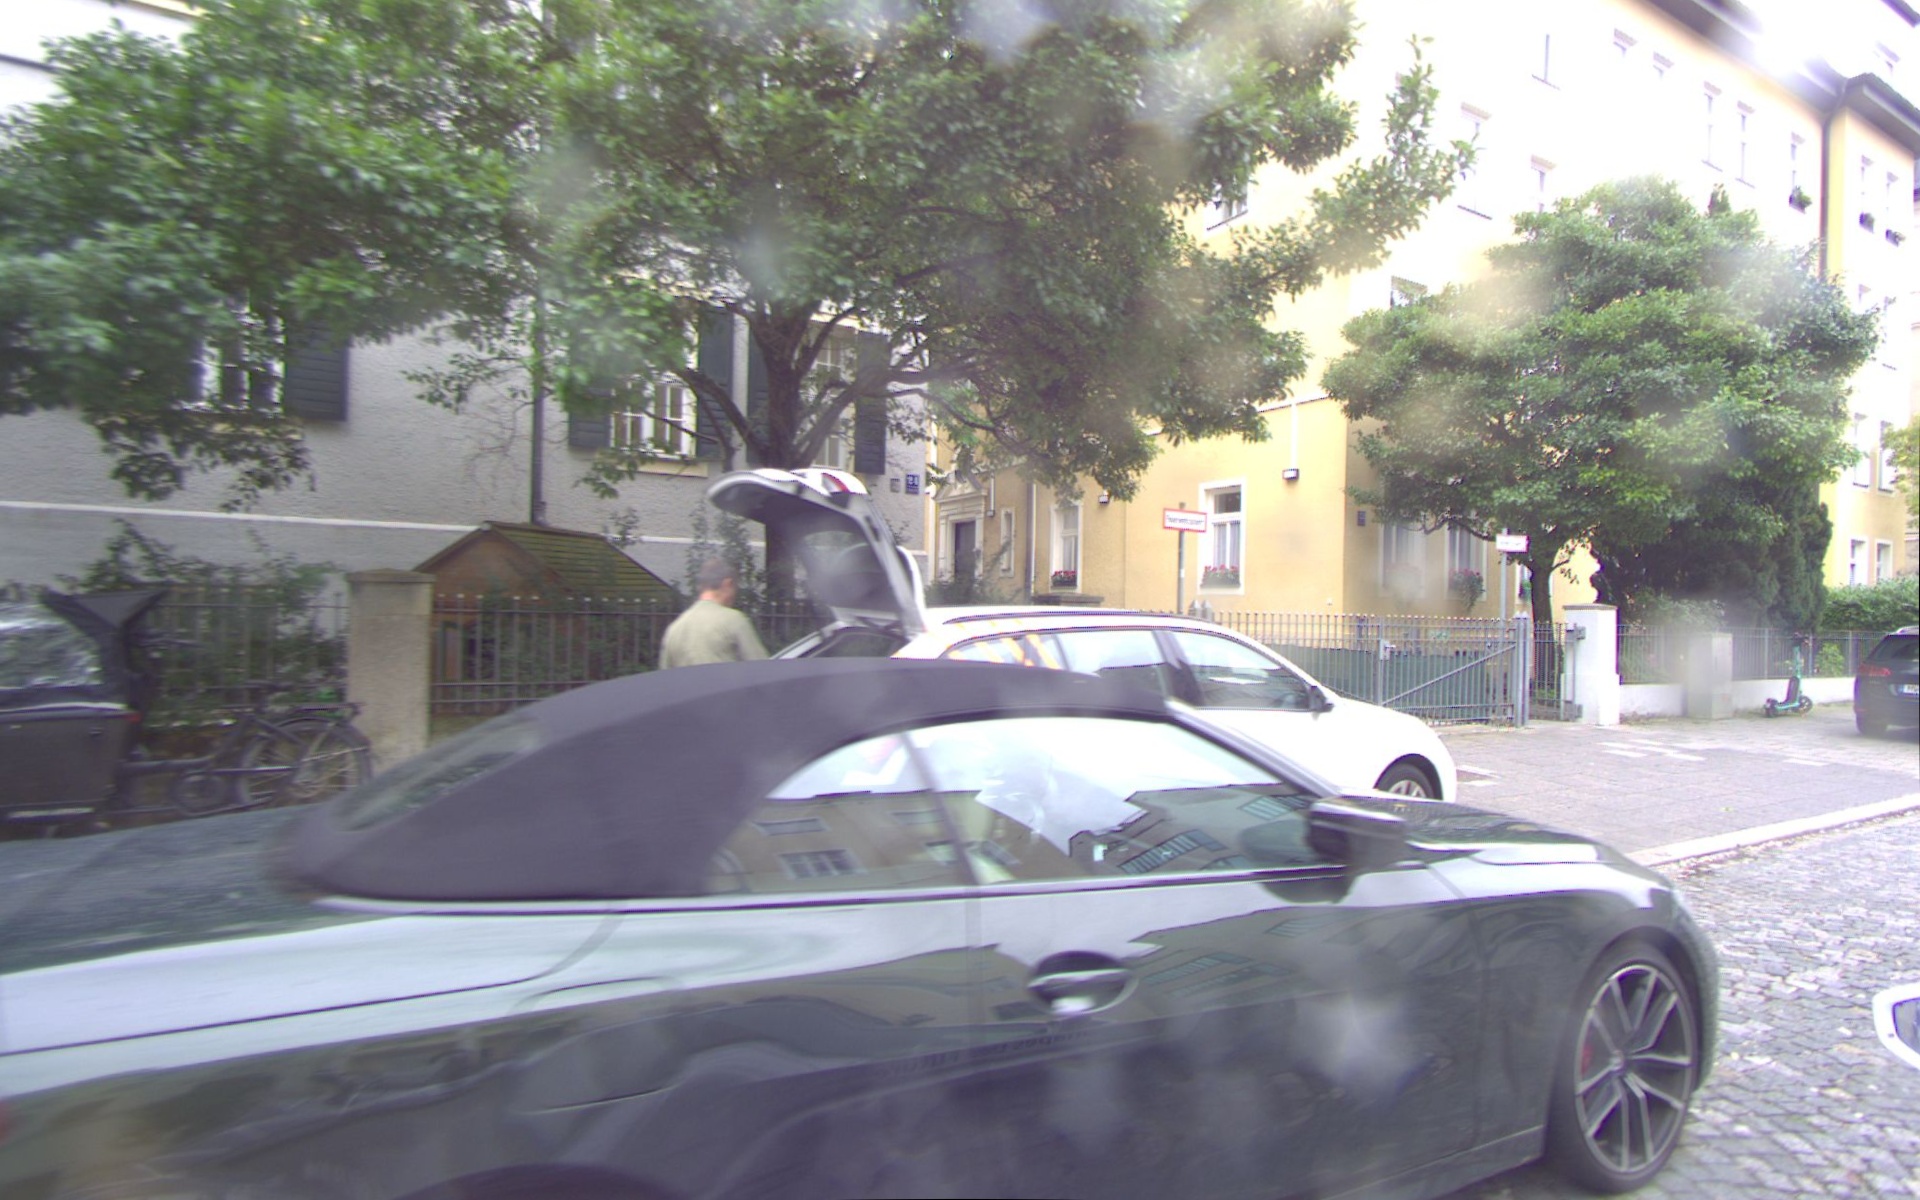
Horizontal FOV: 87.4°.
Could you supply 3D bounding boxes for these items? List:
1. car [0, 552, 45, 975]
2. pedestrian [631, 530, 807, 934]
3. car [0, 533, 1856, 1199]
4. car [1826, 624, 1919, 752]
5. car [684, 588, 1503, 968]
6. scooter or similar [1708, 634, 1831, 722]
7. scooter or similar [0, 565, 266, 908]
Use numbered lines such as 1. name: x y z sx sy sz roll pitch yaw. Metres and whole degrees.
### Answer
1. car: -5.209 0.559 2.217 4.416 1.557 1.730 2 1 -31
2. pedestrian: -1.127 0.549 4.625 0.575 1.672 0.762 1 1 -29
3. car: 0.279 0.754 2.761 4.854 1.474 1.807 2 -3 -30
4. car: 13.742 1.160 13.534 4.667 1.517 1.706 2 2 -31
5. car: 0.905 0.733 5.770 4.507 1.436 1.767 2 1 -30
6. scooter or similar: 12.434 1.162 15.430 1.504 1.216 0.951 1 2 -30
7. scooter or similar: -4.944 0.606 4.762 2.604 1.543 1.057 1 0 -30
